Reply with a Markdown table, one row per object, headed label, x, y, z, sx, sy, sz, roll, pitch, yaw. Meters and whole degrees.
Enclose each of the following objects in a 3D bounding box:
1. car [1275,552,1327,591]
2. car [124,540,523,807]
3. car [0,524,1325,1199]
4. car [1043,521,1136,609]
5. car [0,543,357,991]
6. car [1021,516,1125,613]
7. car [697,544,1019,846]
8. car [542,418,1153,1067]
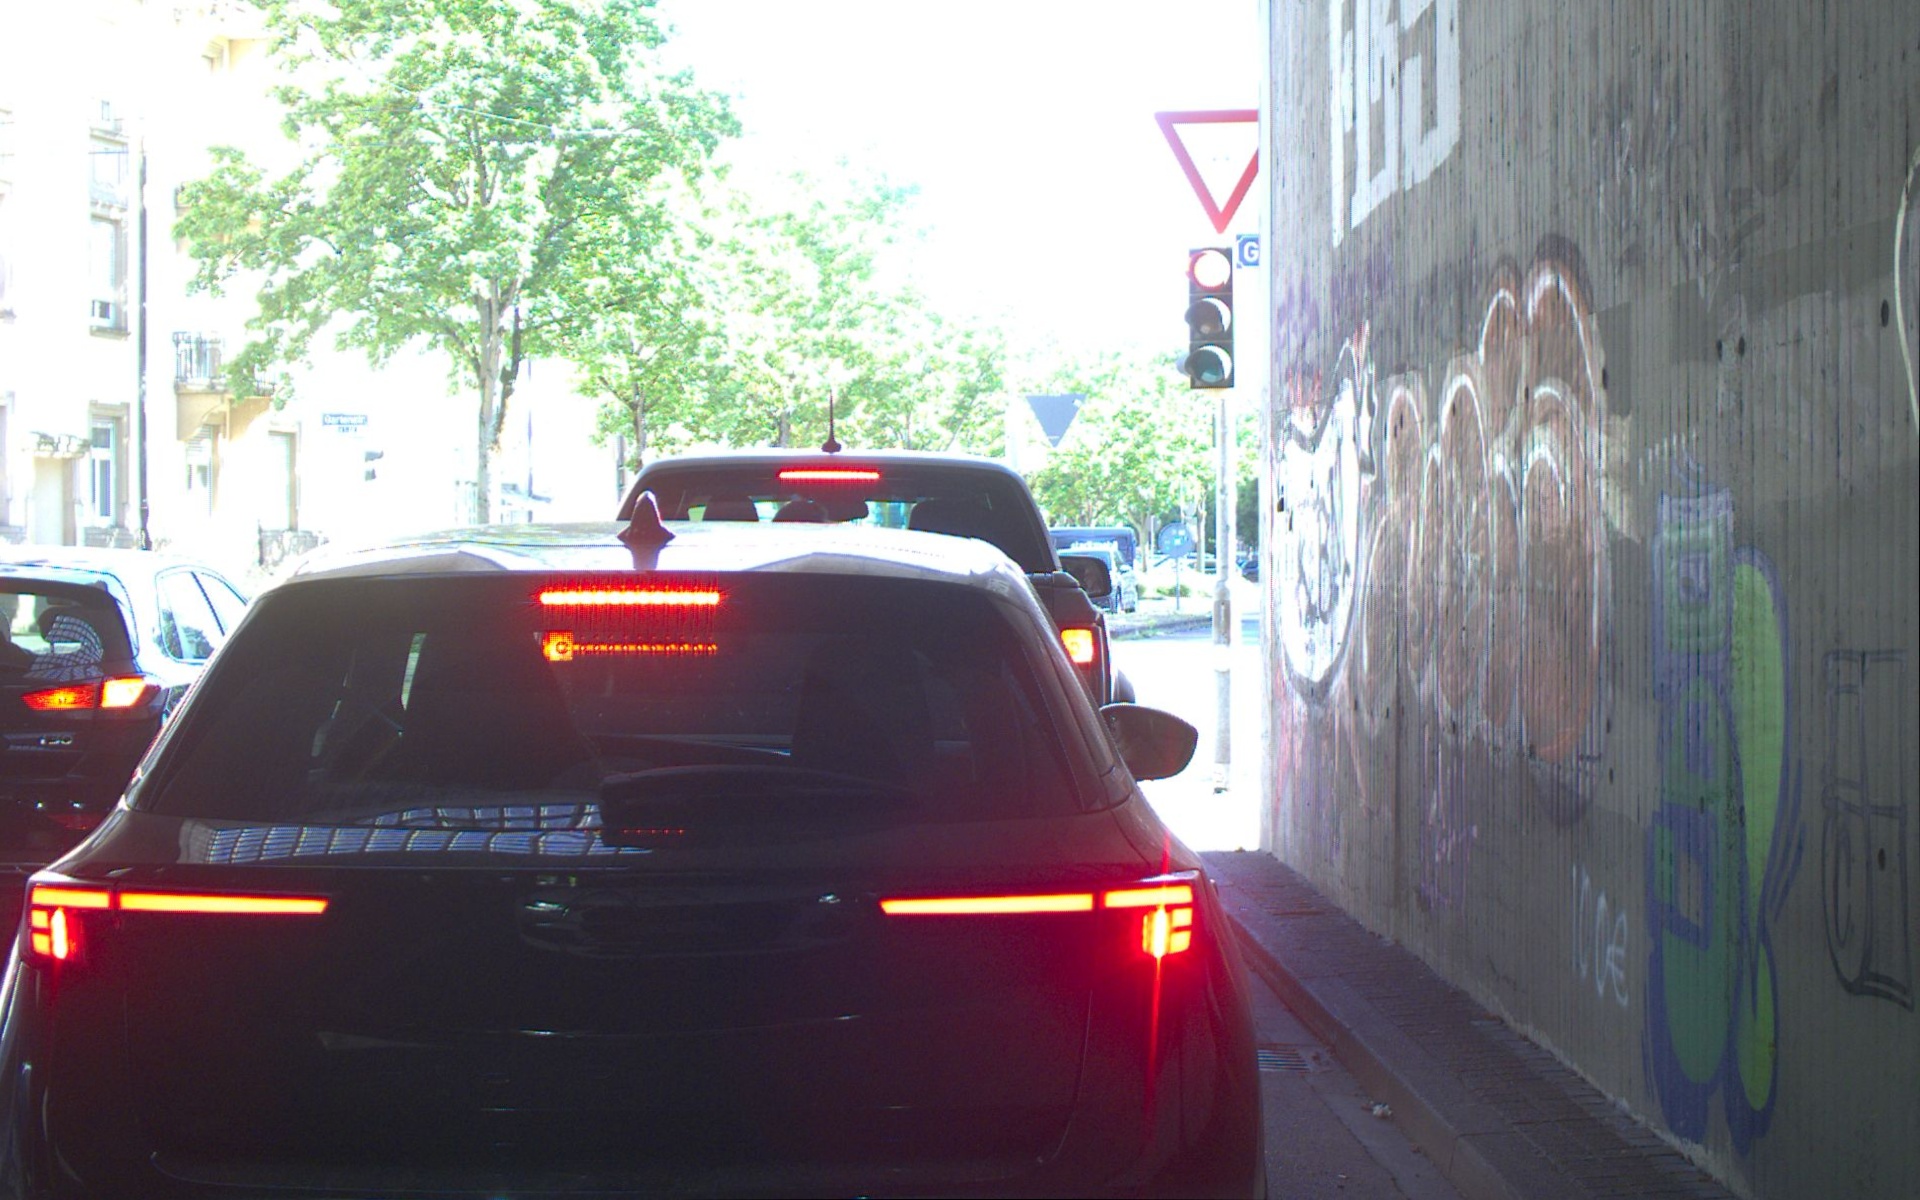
| label | x | y | z | sx | sy | sz | roll | pitch | yaw |
| --- | --- | --- | --- | --- | --- | --- | --- | --- | --- |
| car | 15.162 | -1.249 | 152.517 | 1.818 | 1.661 | 4.813 | 1 | 1 | 11 |
| car | -3.777 | 0.376 | 20.995 | 1.762 | 1.475 | 3.844 | 0 | 1 | -1 |
| car | -0.477 | 0.642 | 6.082 | 1.762 | 1.526 | 4.089 | 0 | 1 | -1 |
| car | 2.597 | -0.696 | 68.297 | 1.754 | 1.661 | 3.944 | 1 | 1 | 3 |
| car | -3.526 | 0.521 | 13.271 | 1.762 | 1.475 | 3.844 | 0 | 1 | -1 |
| car | 2.077 | -0.643 | 62.178 | 1.754 | 1.661 | 3.944 | 1 | 1 | 3 |
| car | -0.534 | 0.442 | 19.243 | 1.609 | 1.508 | 4.054 | 0 | 1 | -1 |
| car | -0.349 | 0.380 | 12.023 | 1.762 | 1.876 | 4.146 | 0 | 1 | -1 |
